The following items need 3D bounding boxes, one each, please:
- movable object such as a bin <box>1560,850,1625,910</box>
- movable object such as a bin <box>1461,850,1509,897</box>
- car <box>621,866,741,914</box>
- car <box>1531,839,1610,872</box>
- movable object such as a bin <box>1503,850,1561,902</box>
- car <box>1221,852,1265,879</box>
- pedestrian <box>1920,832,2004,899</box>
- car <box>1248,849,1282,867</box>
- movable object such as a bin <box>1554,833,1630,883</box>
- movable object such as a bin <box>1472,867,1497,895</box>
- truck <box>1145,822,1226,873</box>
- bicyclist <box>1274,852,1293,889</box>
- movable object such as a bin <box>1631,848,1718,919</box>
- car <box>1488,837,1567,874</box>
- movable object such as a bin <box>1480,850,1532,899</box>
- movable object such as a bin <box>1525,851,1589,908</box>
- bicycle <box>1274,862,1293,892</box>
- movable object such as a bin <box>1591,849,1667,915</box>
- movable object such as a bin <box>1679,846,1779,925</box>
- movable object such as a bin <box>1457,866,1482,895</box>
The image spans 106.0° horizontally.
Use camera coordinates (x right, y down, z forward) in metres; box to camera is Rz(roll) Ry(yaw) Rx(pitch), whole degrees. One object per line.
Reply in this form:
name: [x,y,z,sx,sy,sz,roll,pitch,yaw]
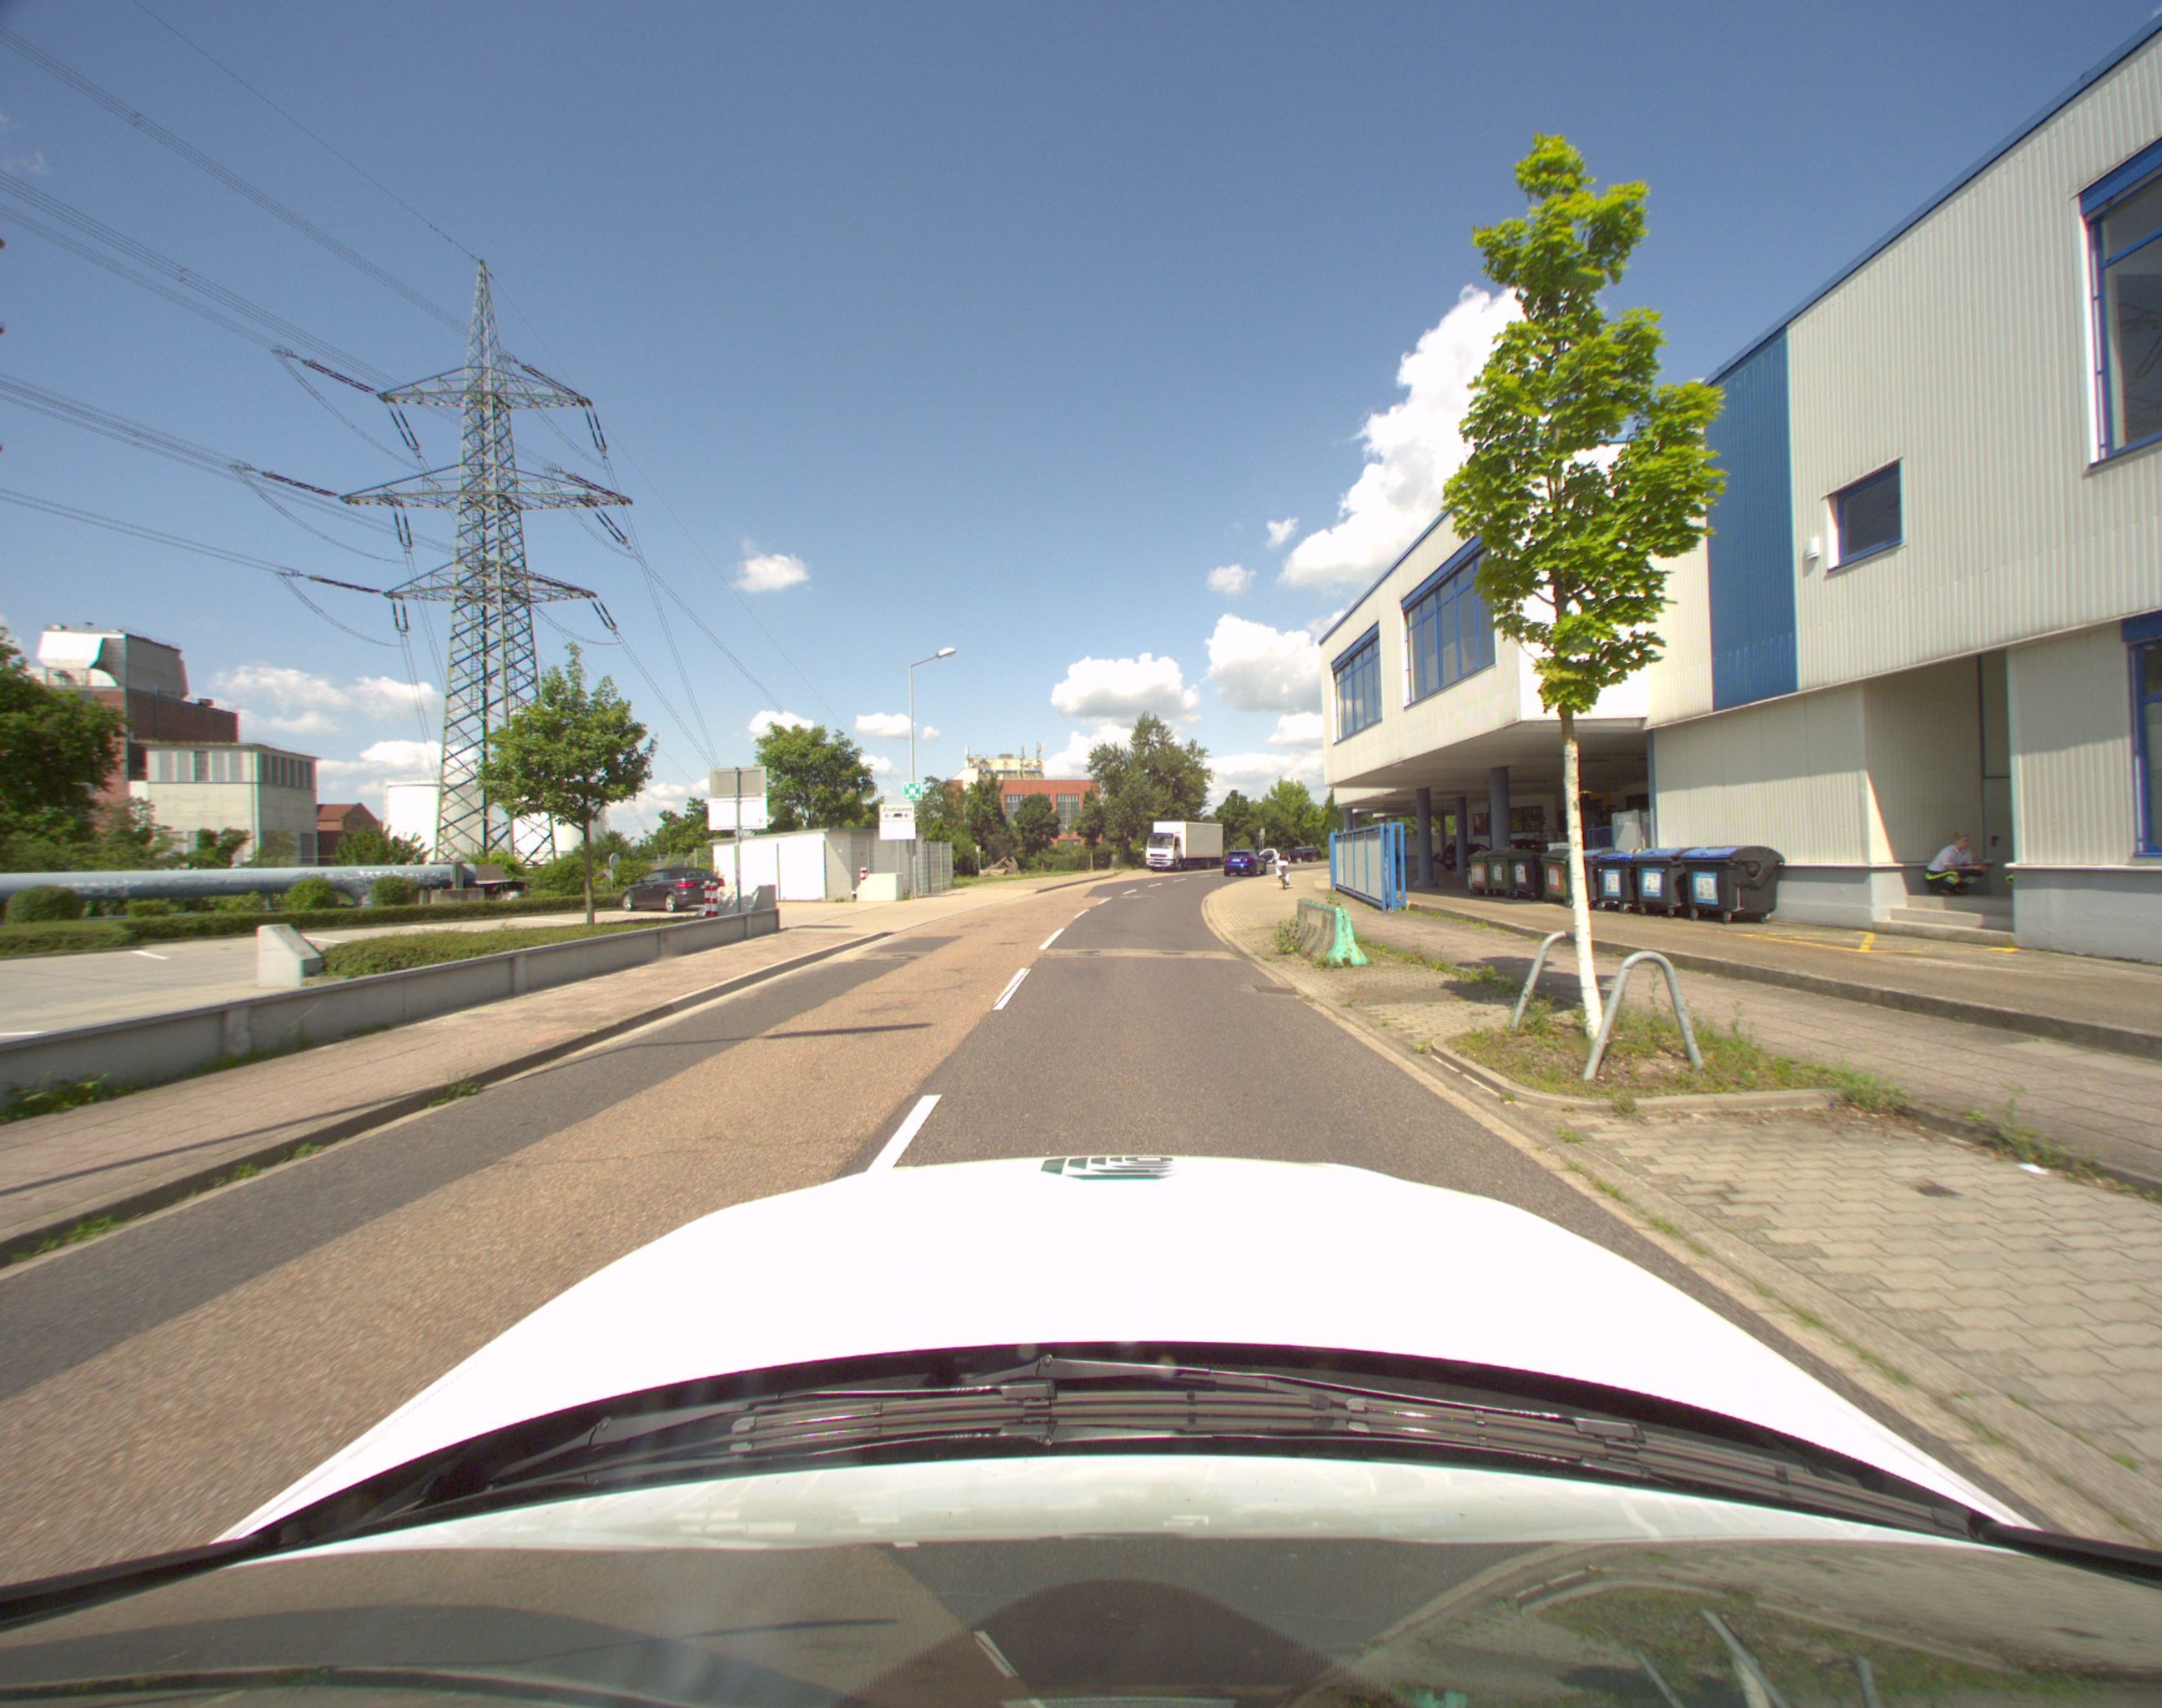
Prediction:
movable object such as a bin: [12.376,0.619,19.753,0.801,1.413,1.174,-1,-1,-1]
movable object such as a bin: [12.669,0.606,25.600,0.801,1.413,1.357,-1,-1,-1]
car: [-13.093,1.164,26.580,3.948,1.378,1.815,-2,0,35]
car: [23.881,0.050,39.714,3.675,1.546,1.825,-1,0,-31]
movable object such as a bin: [12.587,0.602,22.774,0.801,1.413,1.405,-1,-1,-1]
car: [10.220,0.681,51.083,1.893,1.593,4.726,-2,-1,21]
pedestrian: [13.834,0.181,12.807,0.562,1.013,0.711,1,-1,2]
car: [17.499,0.391,77.567,2.884,1.570,1.893,-2,-1,5]
movable object such as a bin: [22.535,0.151,35.877,3.447,2.085,1.420,-1,0,-31]
movable object such as a bin: [13.197,0.881,26.662,0.596,0.910,0.417,-1,-1,-1]
truck: [7.979,-0.563,60.792,2.299,3.567,9.427,0,1,32]
bicyclist: [8.012,0.650,32.240,0.659,1.397,0.861,-2,0,13]
movable object such as a bin: [12.306,0.590,16.928,0.801,1.413,1.358,-1,-1,1]
car: [23.068,0.036,42.065,4.119,1.781,1.742,-2,1,-31]
movable object such as a bin: [12.609,0.606,24.201,0.801,1.413,1.357,-1,-1,-1]
movable object such as a bin: [12.367,0.640,21.204,0.801,1.413,1.427,-1,-1,-1]
bicycle: [7.990,0.888,32.180,0.662,1.109,2.175,-2,0,13]
movable object such as a bin: [12.374,0.621,18.432,0.801,1.413,1.358,-1,-1,1]
movable object such as a bin: [12.279,0.578,15.478,0.801,1.413,1.358,-1,-1,1]
movable object such as a bin: [13.141,0.892,27.546,0.586,0.943,0.544,-1,-1,-1]
